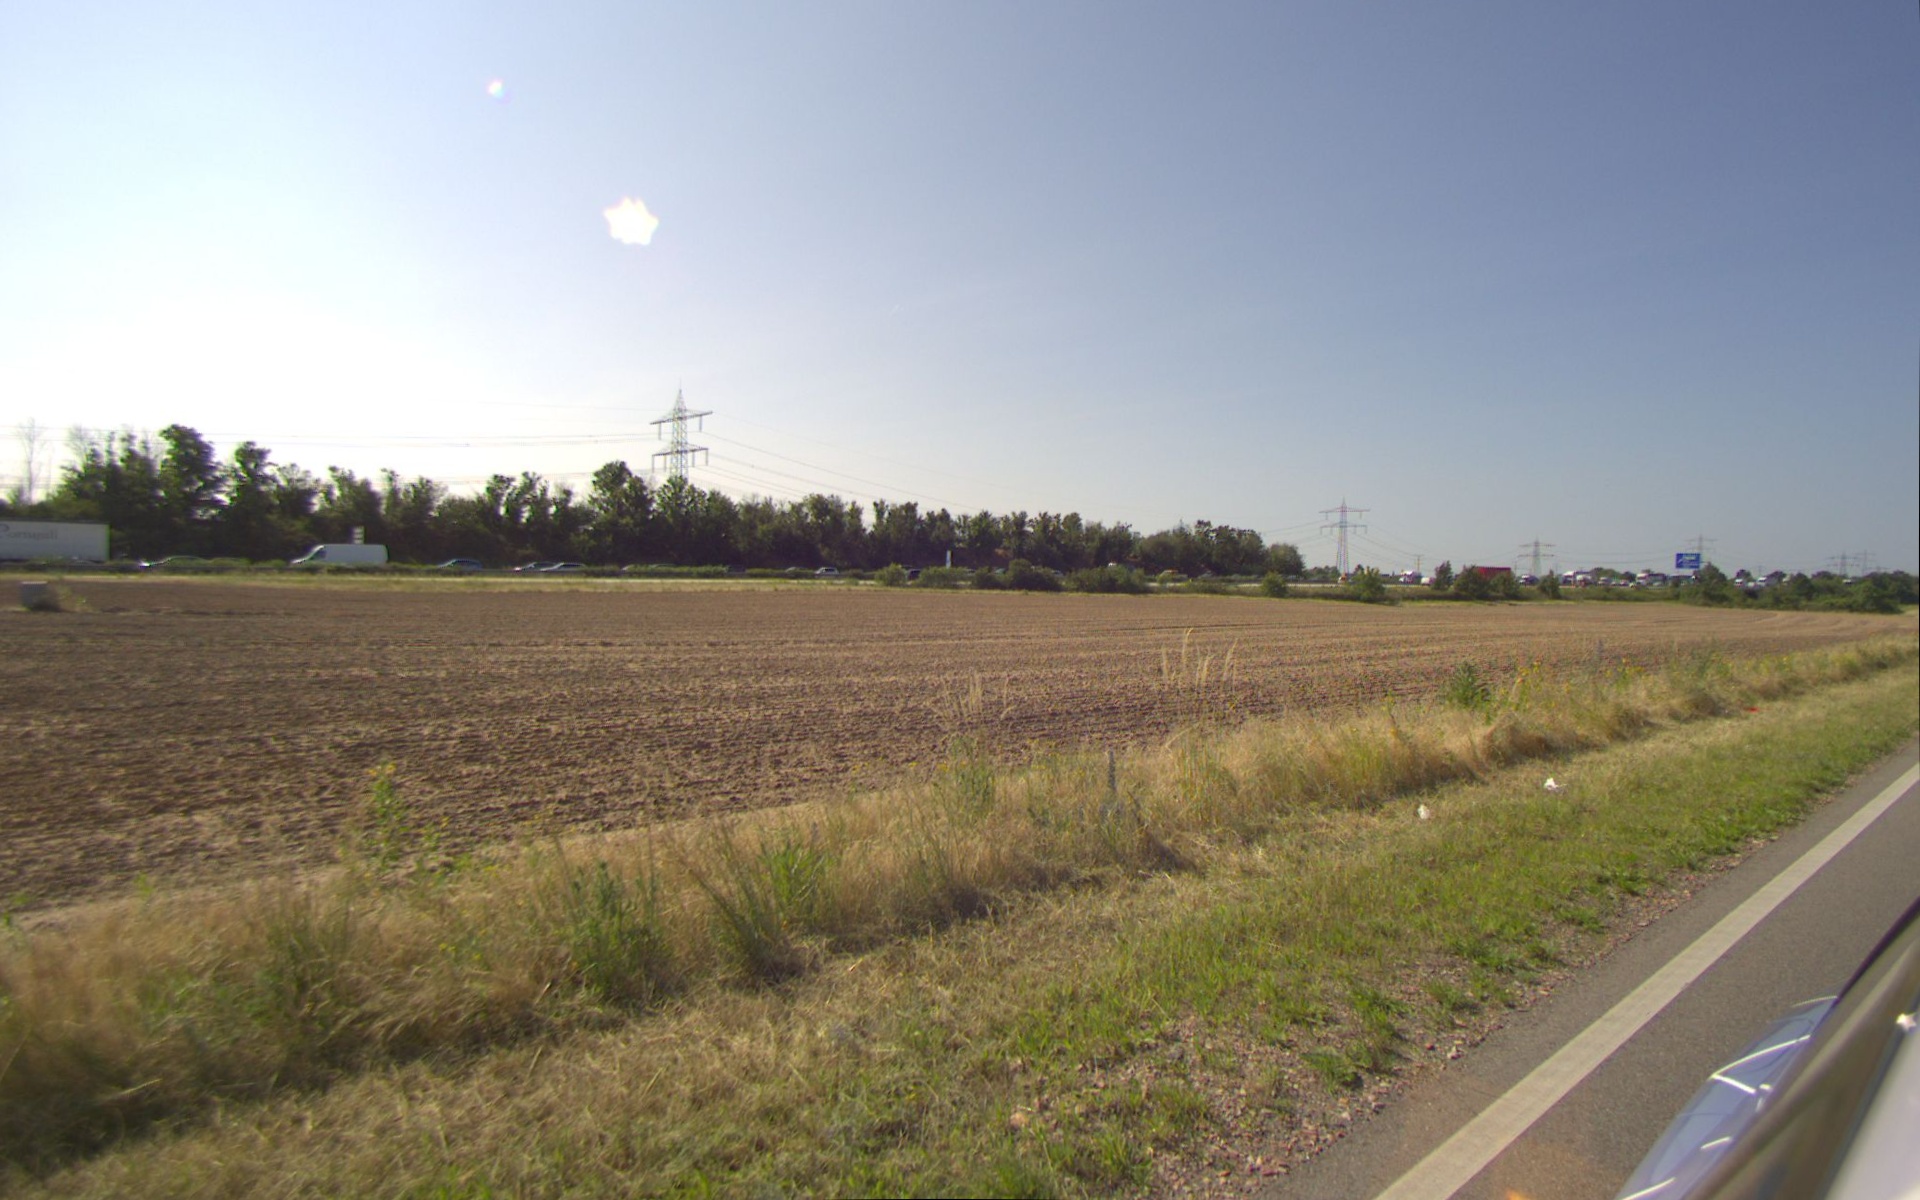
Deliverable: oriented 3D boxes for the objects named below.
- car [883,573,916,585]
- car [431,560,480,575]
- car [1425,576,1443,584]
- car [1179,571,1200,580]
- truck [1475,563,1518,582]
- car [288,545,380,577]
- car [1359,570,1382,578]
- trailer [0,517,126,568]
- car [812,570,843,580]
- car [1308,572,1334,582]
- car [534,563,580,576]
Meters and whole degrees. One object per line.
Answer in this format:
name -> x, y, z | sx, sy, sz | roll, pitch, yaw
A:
car -> -6.637, -2.252, 111.045 | 3.489, 1.279, 1.581 | -1, 0, -41
car -> -44.168, -2.840, 88.578 | 3.601, 1.323, 1.341 | -1, 1, -44
car -> 87.584, -3.719, 186.895 | 3.530, 1.440, 1.494 | 0, 1, -38
car -> 36.343, -3.867, 160.212 | 3.531, 1.331, 1.415 | -1, 1, -39
truck -> 109.041, -5.604, 205.501 | 13.449, 3.603, 2.908 | 0, 1, -41
car -> -51.777, -3.203, 83.825 | 6.302, 2.477, 2.041 | -1, 1, -41
car -> 84.709, -5.386, 208.788 | 5.509, 1.701, 2.054 | -1, 1, -40
trailer -> -70.443, -4.238, 73.735 | 14.827, 3.574, 3.207 | 0, 2, -43
car -> -16.005, -3.022, 122.022 | 3.533, 1.243, 1.484 | -1, 1, -42
car -> 66.703, -4.240, 186.783 | 5.509, 1.701, 2.054 | -1, 1, -40
car -> -37.564, -2.825, 94.389 | 3.796, 1.139, 1.342 | -1, 1, -42
